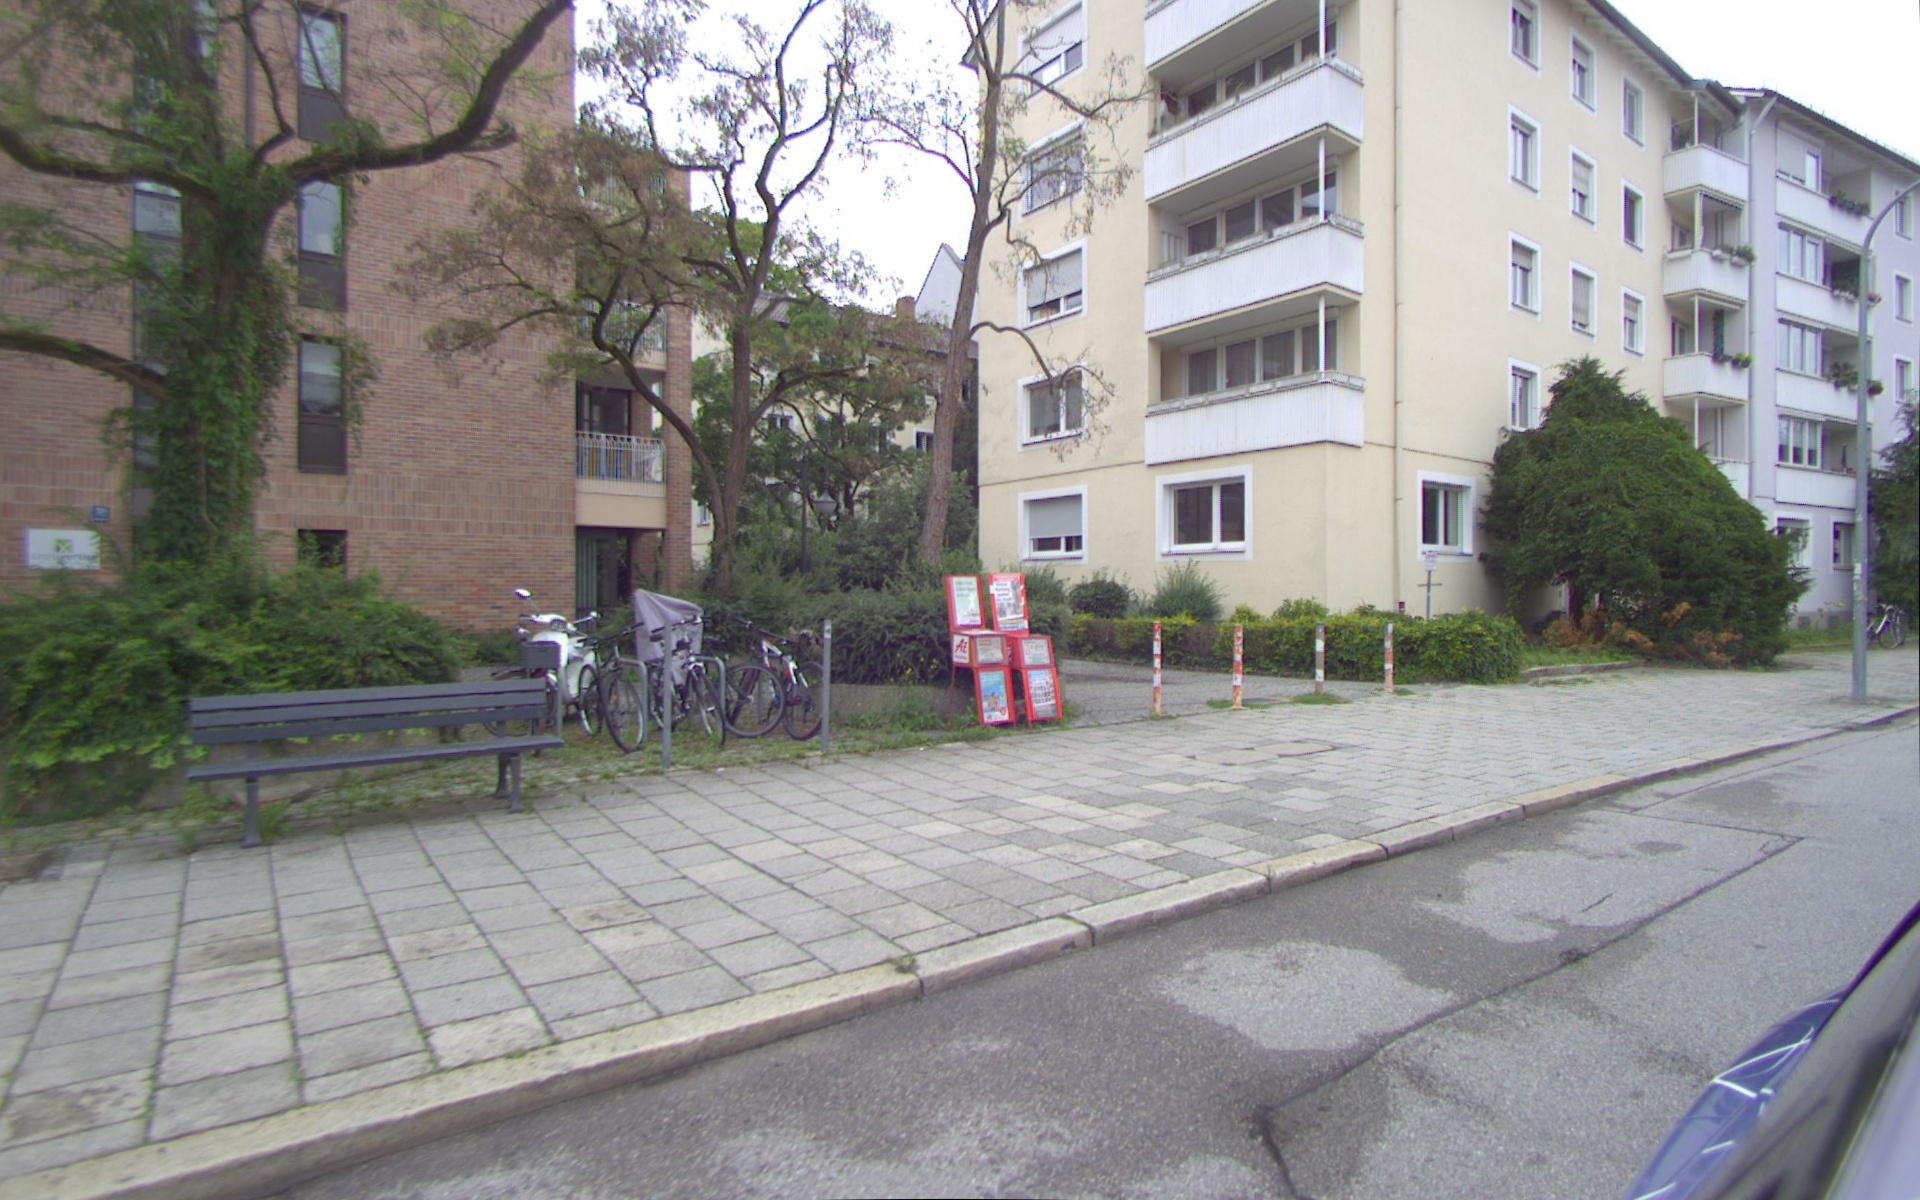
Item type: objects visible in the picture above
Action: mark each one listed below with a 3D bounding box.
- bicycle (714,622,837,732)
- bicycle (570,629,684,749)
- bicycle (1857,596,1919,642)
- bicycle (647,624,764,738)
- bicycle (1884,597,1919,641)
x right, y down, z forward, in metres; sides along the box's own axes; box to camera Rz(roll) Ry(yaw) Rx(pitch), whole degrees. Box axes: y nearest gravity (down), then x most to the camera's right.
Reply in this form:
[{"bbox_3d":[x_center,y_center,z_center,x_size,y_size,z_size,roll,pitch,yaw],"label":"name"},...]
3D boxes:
[{"bbox_3d":[-1.828,0.706,9.852,0.535,0.978,1.706,1,-2,-34],"label":"bicycle"},{"bbox_3d":[-3.053,0.759,9.199,0.535,0.978,1.706,1,-2,-34],"label":"bicycle"},{"bbox_3d":[23.766,0.469,25.767,1.903,1.132,0.470,0,1,-17],"label":"bicycle"},{"bbox_3d":[-2.445,0.724,9.596,0.535,0.978,1.706,1,-2,-34],"label":"bicycle"},{"bbox_3d":[25.523,0.489,27.173,1.904,1.132,0.469,0,1,-29],"label":"bicycle"}]
